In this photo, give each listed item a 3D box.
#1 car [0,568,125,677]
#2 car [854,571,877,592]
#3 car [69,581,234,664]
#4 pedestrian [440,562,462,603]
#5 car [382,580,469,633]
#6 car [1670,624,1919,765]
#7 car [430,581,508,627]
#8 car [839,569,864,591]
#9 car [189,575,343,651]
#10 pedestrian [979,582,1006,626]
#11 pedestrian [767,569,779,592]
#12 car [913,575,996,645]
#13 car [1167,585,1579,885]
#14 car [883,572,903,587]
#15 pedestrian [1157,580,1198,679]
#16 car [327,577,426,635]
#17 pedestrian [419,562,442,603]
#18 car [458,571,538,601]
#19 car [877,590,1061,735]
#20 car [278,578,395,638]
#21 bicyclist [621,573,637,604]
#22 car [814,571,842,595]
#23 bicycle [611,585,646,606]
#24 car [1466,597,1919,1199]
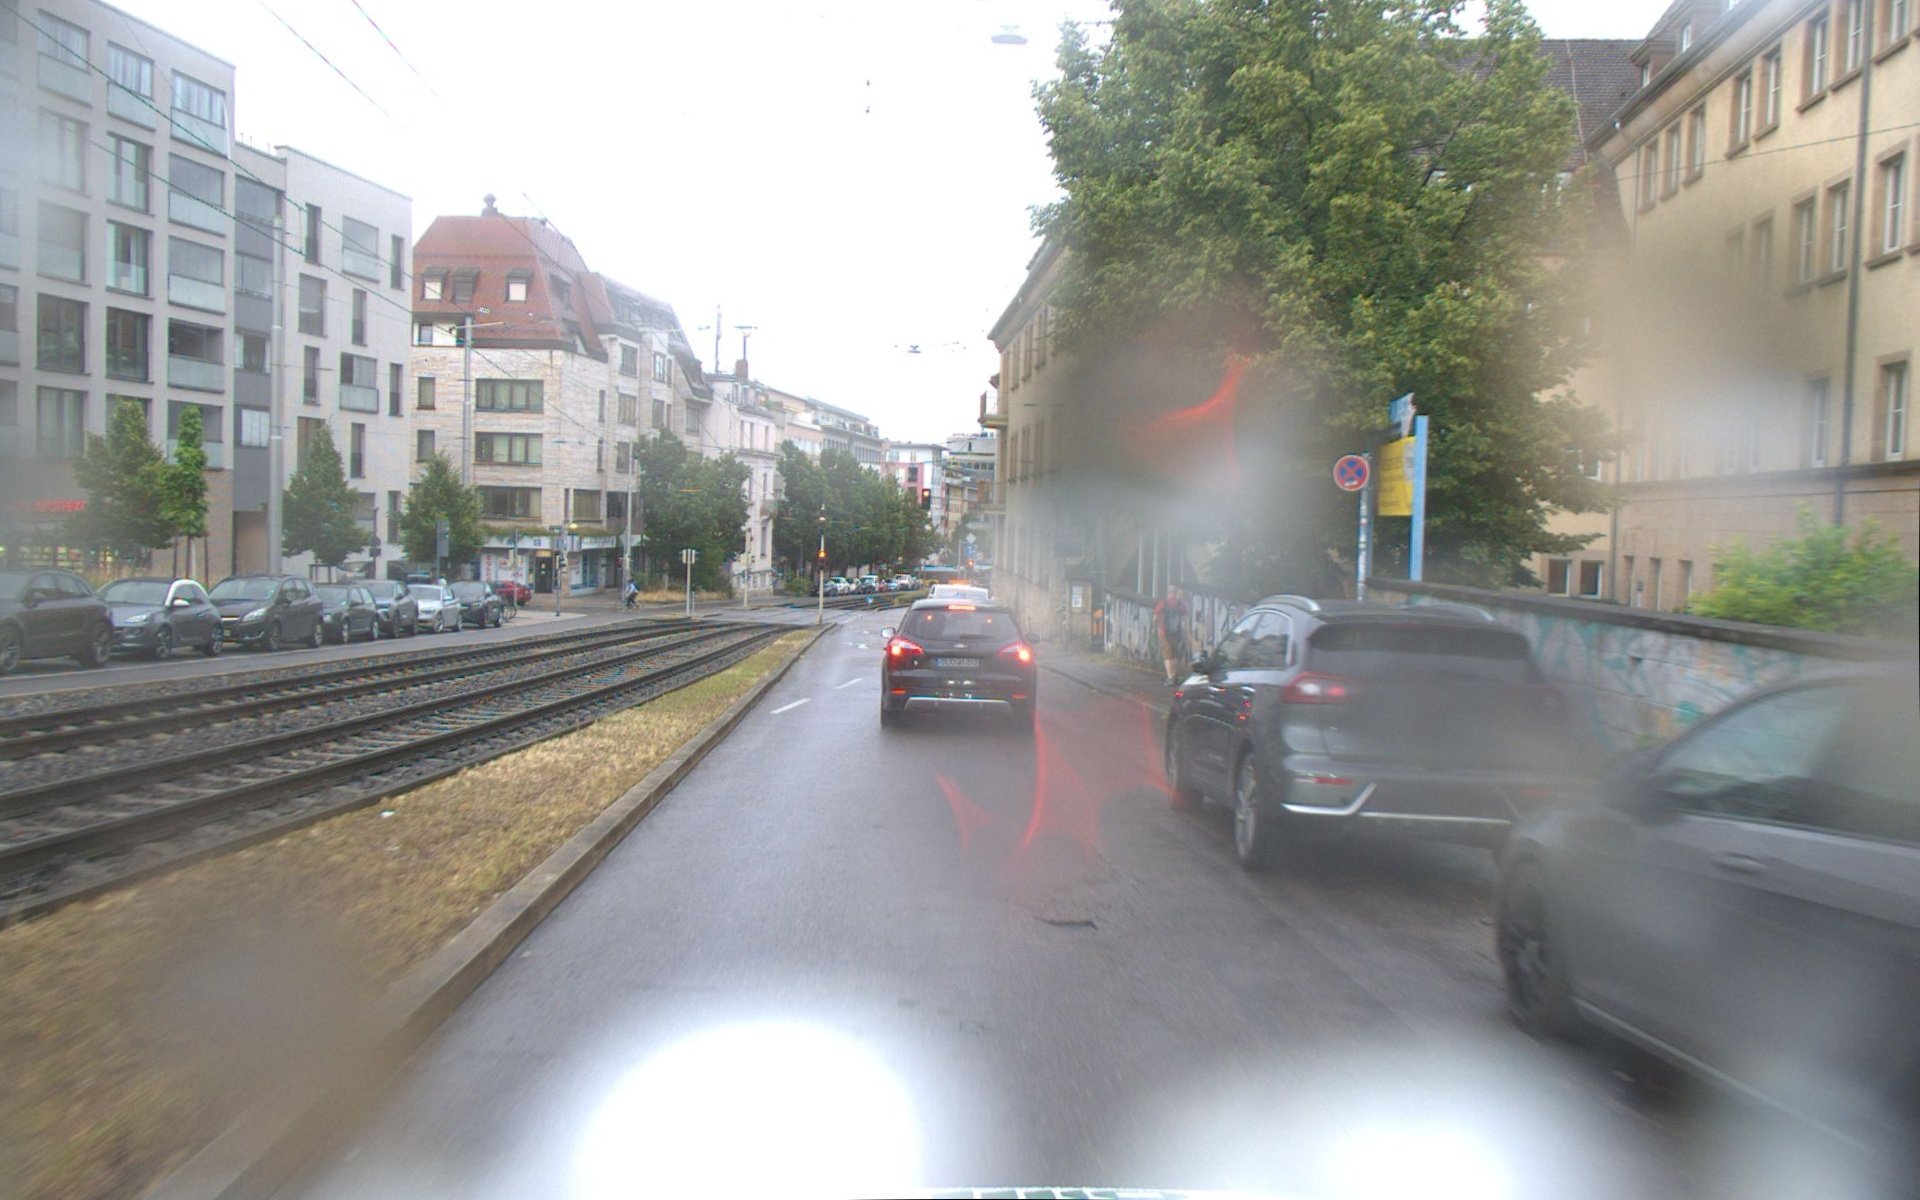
[{"bbox_3d":[-14.968,0.303,25.849,1.730,1.588,4.404,1,0,-2],"label":"car"},{"bbox_3d":[-9.705,-1.907,170.514,1.952,2.049,4.001,1,1,2],"label":"car"},{"bbox_3d":[-15.170,0.391,31.203,1.518,1.460,3.449,1,0,-2],"label":"car"},{"bbox_3d":[-25.986,-0.894,84.468,0.923,2.049,0.764,1,0,-7],"label":"pedestrian"},{"bbox_3d":[-16.345,0.179,50.722,1.738,1.530,4.078,1,0,-6],"label":"car"},{"bbox_3d":[12.691,1.348,23.952,4.036,1.824,1.797,2,0,8],"label":"car"},{"bbox_3d":[-17.062,0.108,57.653,1.875,1.530,4.231,1,0,-6],"label":"car"},{"bbox_3d":[-10.451,-1.900,159.572,1.952,2.049,4.001,1,1,2],"label":"car"},{"bbox_3d":[-15.162,0.254,36.375,1.685,1.539,4.316,1,0,-2],"label":"car"},{"bbox_3d":[1.377,0.177,69.938,1.024,1.826,0.901,1,0,-5],"label":"pedestrian"},{"bbox_3d":[-16.451,-1.709,145.218,0.925,2.049,0.762,1,0,-13],"label":"pedestrian"},{"bbox_3d":[-0.099,0.219,44.920,2.092,1.775,4.219,1,1,2],"label":"car"},{"bbox_3d":[2.411,0.685,10.676,1.631,1.551,4.109,0,1,0],"label":"car"},{"bbox_3d":[-7.426,-2.281,183.670,1.952,1.691,4.001,1,1,2],"label":"car"},{"bbox_3d":[3.920,0.527,29.863,0.619,1.751,0.711,1,0,-2],"label":"pedestrian"},{"bbox_3d":[-16.169,0.146,46.011,1.738,1.530,3.916,1,0,-6],"label":"car"},{"bbox_3d":[-27.153,-0.908,84.836,0.923,2.049,0.764,1,0,-7],"label":"pedestrian"},{"bbox_3d":[-26.609,-0.820,95.281,4.046,1.596,1.824,1,1,6],"label":"car"},{"bbox_3d":[-0.002,0.668,19.946,1.882,1.505,3.997,0,1,-5],"label":"car"},{"bbox_3d":[-15.573,0.177,41.485,1.518,1.386,4.008,2,0,-2],"label":"car"},{"bbox_3d":[-17.482,-0.616,87.390,0.695,1.601,0.456,2,0,-39],"label":"bicyclist"},{"bbox_3d":[-11.717,-1.520,146.907,1.952,2.049,4.001,1,1,2],"label":"car"},{"bbox_3d":[-17.523,-0.235,87.369,1.785,1.082,0.451,2,1,-39],"label":"bicycle"},{"bbox_3d":[2.955,0.762,4.675,1.632,1.502,4.107,0,1,-3],"label":"car"}]
